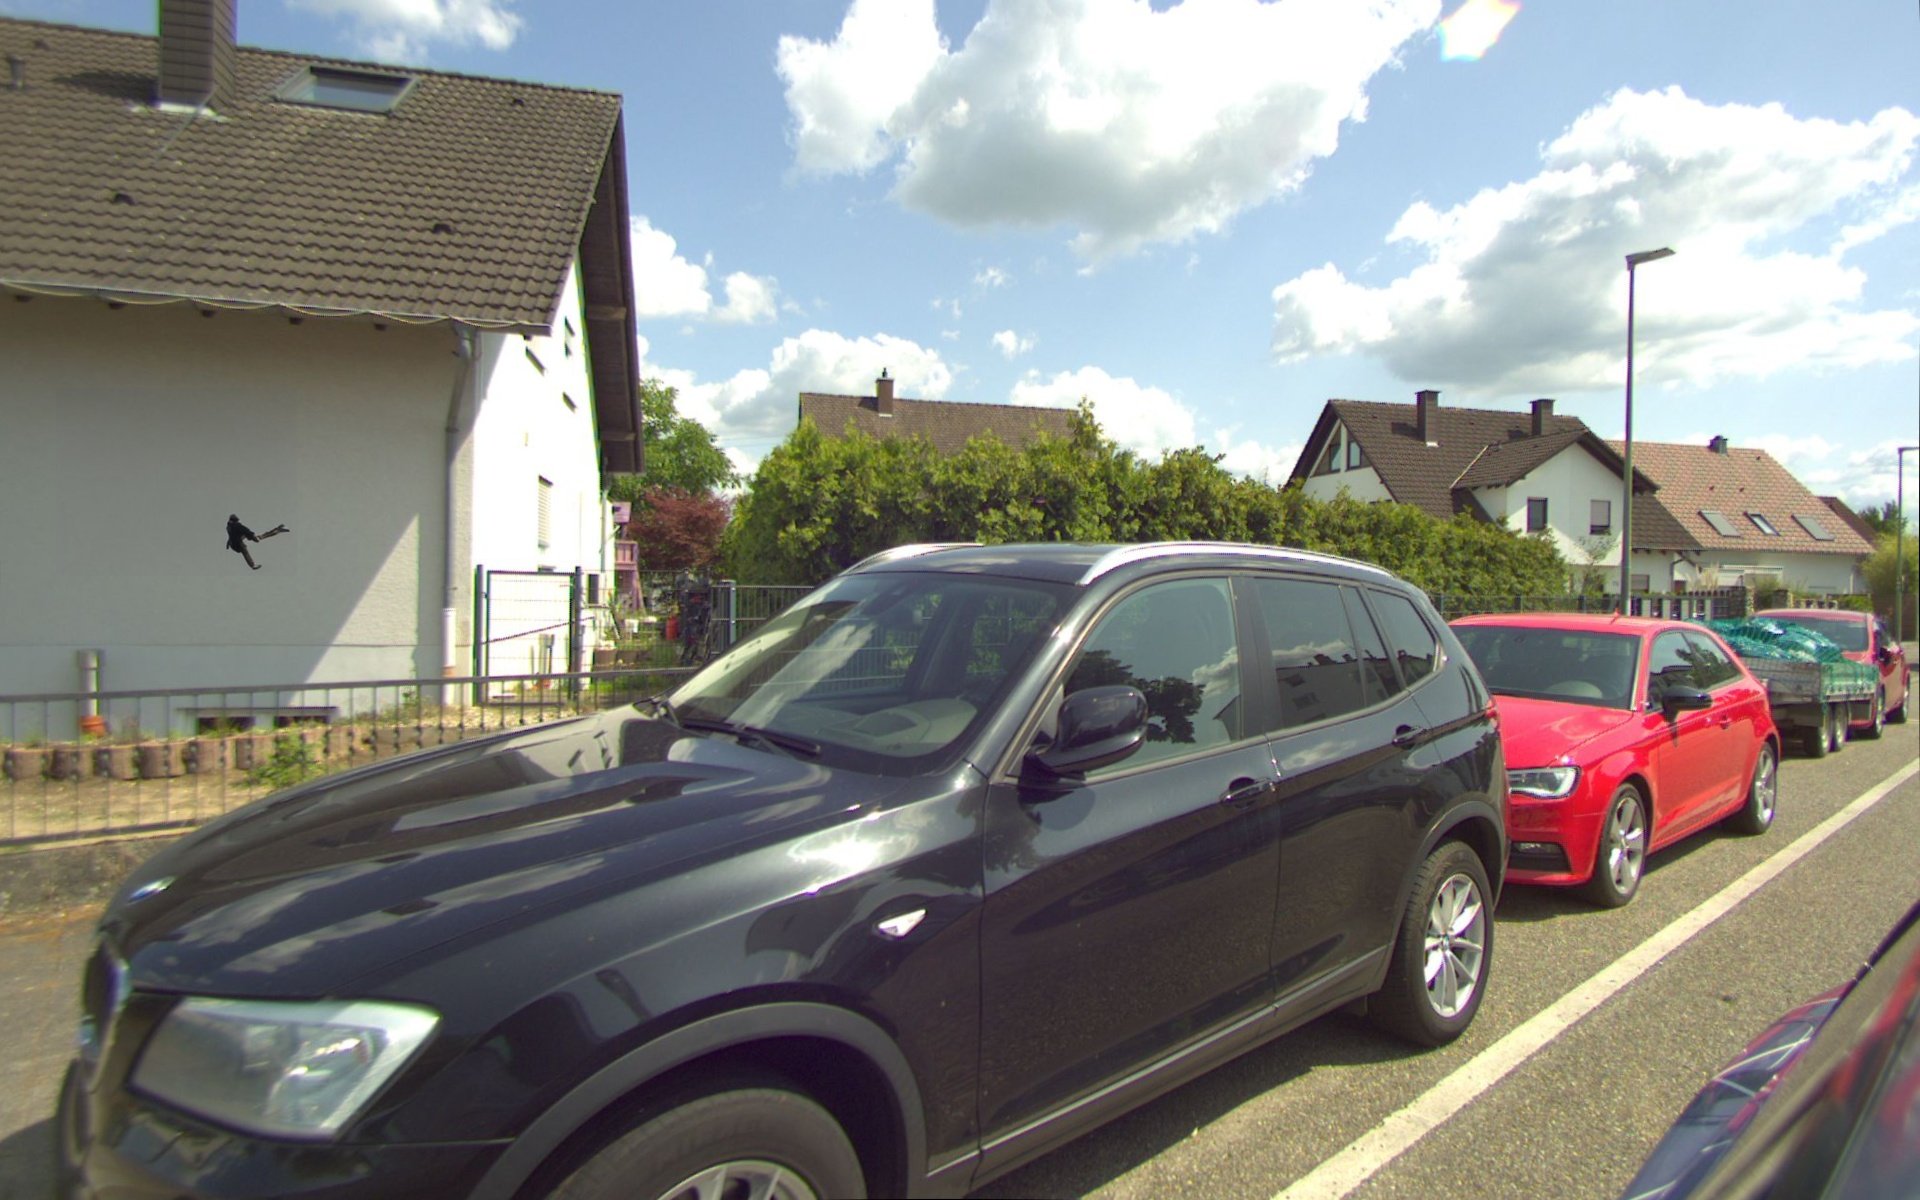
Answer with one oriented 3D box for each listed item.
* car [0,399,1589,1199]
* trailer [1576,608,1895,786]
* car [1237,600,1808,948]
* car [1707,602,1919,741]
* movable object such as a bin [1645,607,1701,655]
[{"bbox_3d":[0.129,0.620,3.192,4.472,1.683,1.834,0,1,-40],"label":"car"},{"bbox_3d":[7.950,0.800,10.216,4.353,1.395,1.611,0,0,-39],"label":"trailer"},{"bbox_3d":[3.642,0.738,6.236,4.071,1.453,1.688,0,0,-39],"label":"car"},{"bbox_3d":[11.382,0.786,13.230,4.674,1.481,1.694,0,0,-42],"label":"car"},{"bbox_3d":[16.641,0.718,23.629,0.751,1.071,0.779,0,0,-23],"label":"movable object such as a bin"}]
